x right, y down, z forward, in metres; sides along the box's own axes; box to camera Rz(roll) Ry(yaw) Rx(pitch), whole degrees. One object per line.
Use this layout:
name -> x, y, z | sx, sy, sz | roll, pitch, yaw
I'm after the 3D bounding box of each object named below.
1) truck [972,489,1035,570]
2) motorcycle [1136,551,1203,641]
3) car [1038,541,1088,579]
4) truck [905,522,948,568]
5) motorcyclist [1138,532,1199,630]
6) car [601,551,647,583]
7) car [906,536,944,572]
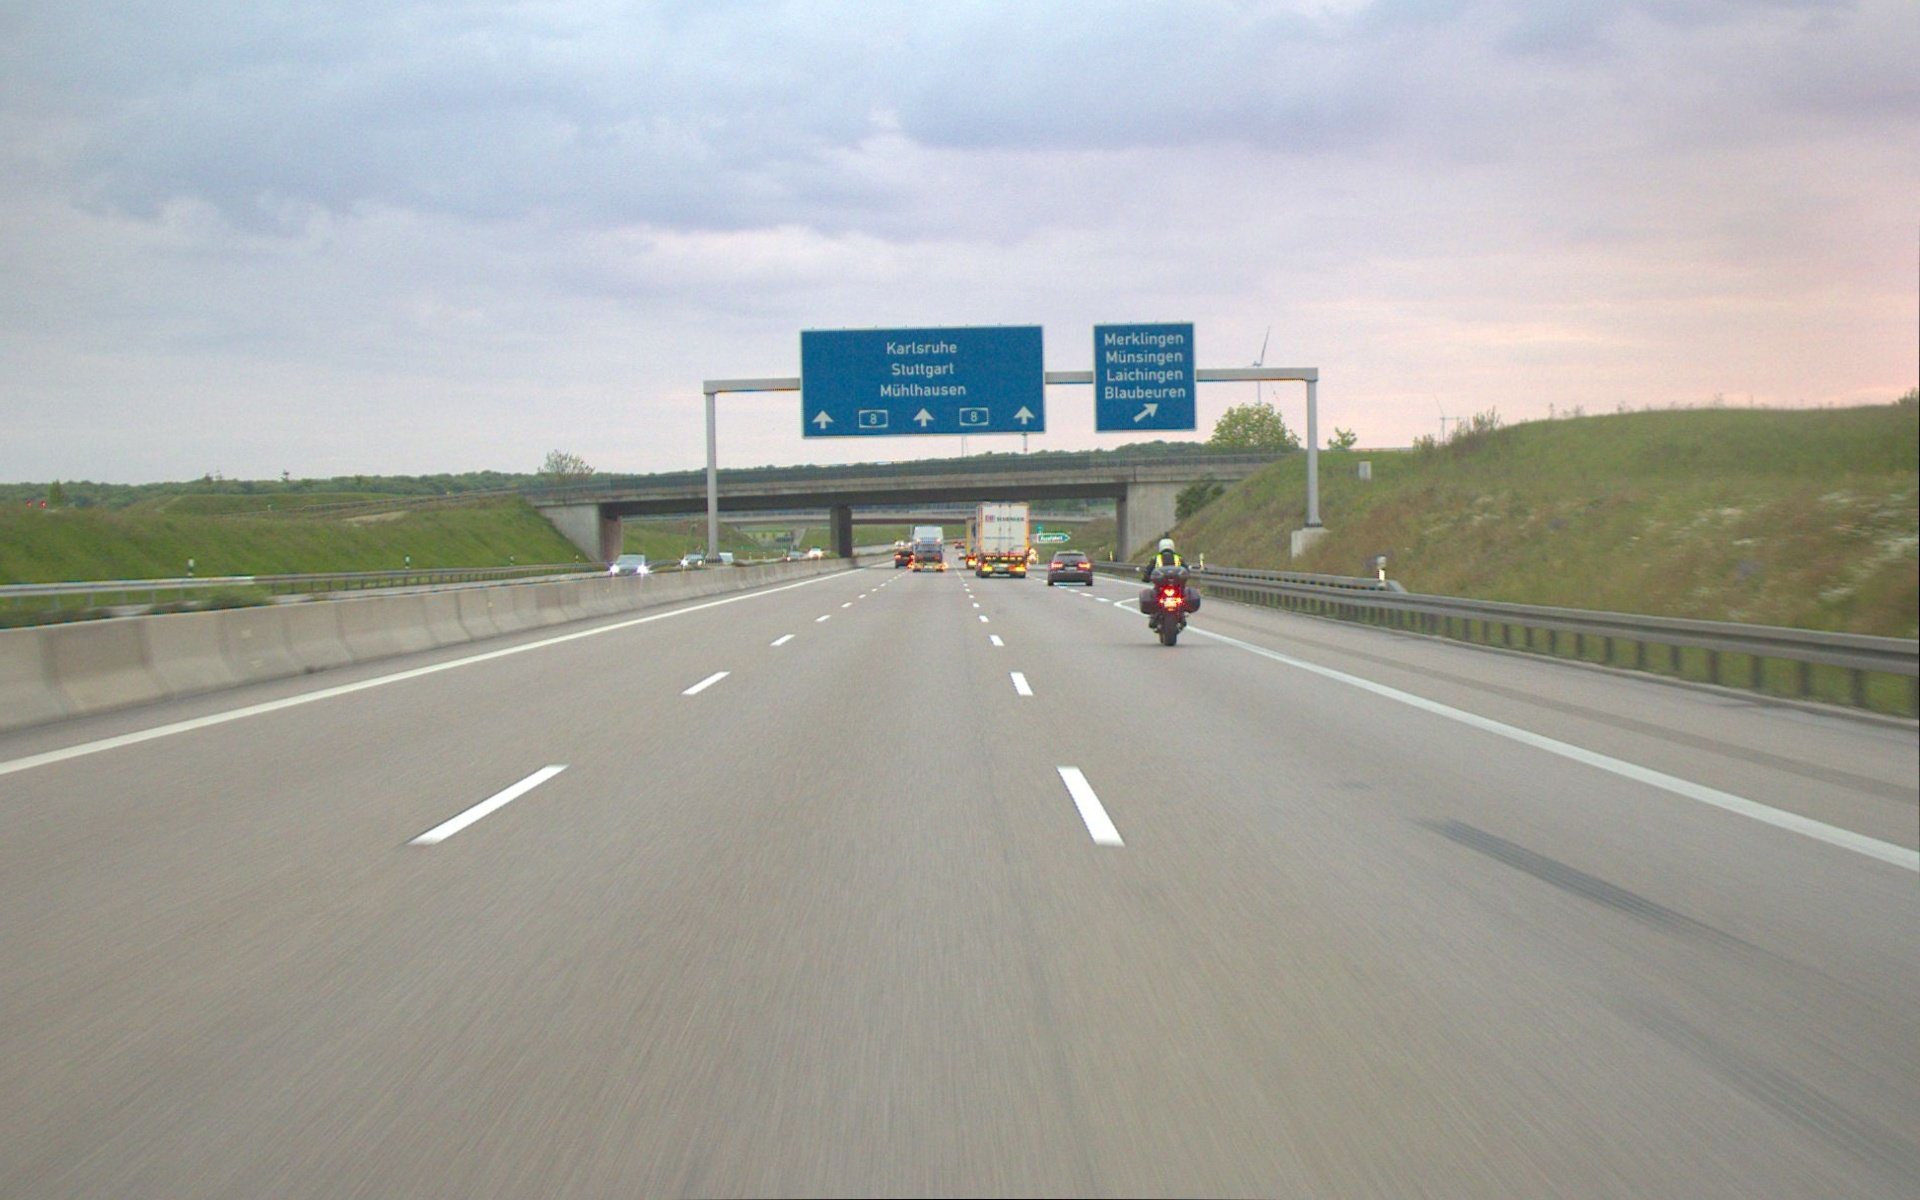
truck -> 2.320, -3.838, 186.334 | 3.234, 4.213, 9.599 | 1, 1, 0
motorcycle -> 3.275, -0.080, 53.899 | 0.902, 1.342, 2.349 | 0, 2, 0
car -> 4.330, -1.686, 145.254 | 1.918, 1.574, 4.000 | 0, 1, -1
truck -> -2.438, -3.989, 247.488 | 2.951, 3.206, 8.406 | 1, 1, -1
motorcyclist -> 3.248, -0.305, 53.616 | 0.866, 1.482, 1.168 | 1, 1, 0
car -> -17.228, -1.684, 176.444 | 2.002, 1.582, 4.573 | -1, 1, -2
car -> -2.386, -3.109, 231.438 | 2.516, 2.383, 6.497 | 0, 1, -1
